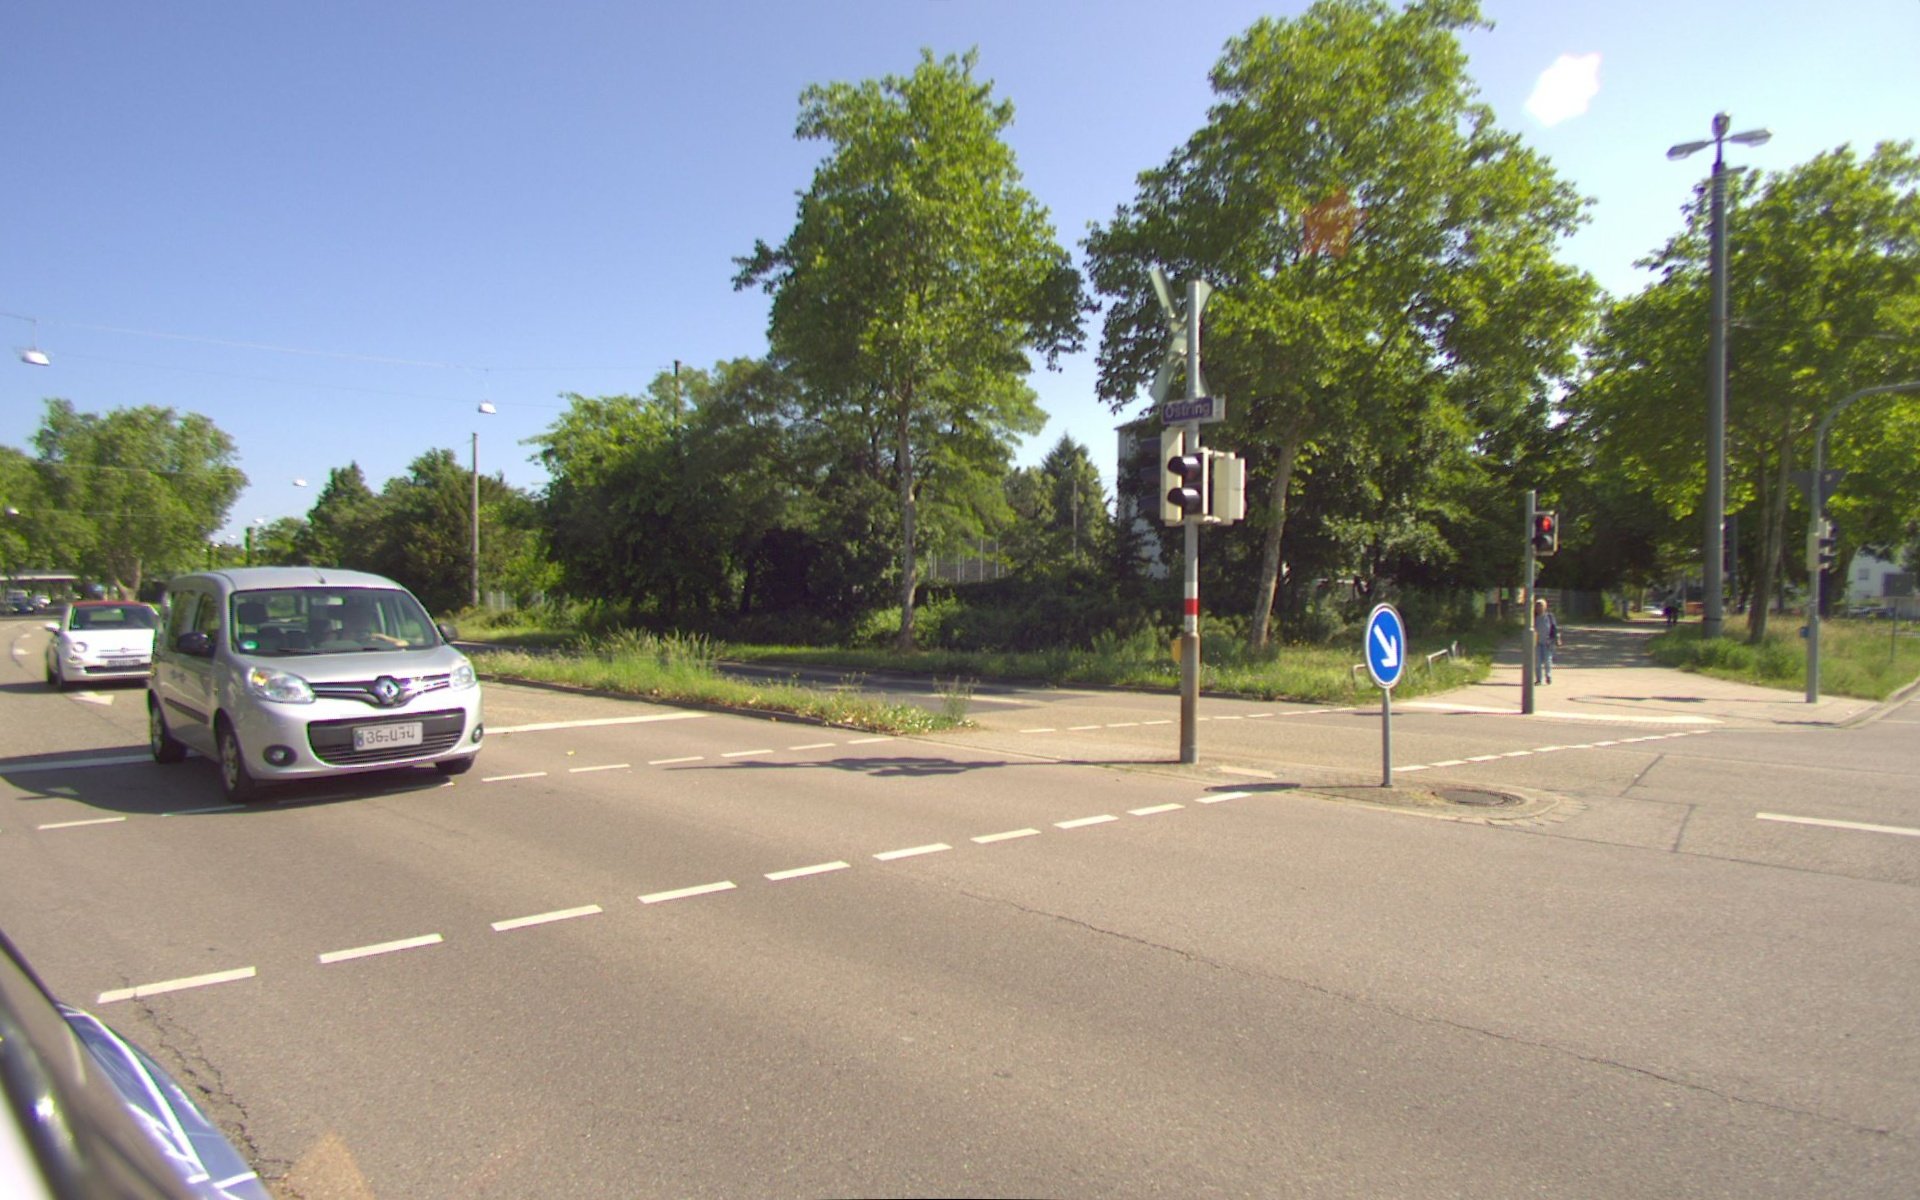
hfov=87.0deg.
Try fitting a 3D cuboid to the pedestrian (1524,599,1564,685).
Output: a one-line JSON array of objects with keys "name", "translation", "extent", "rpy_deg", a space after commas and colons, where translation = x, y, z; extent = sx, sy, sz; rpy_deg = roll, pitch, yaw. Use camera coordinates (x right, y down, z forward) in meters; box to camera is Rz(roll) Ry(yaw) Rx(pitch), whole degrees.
[{"name": "pedestrian", "translation": [10.691, 0.752, 18.524], "extent": [0.567, 1.546, 0.600], "rpy_deg": [0, -1, 36]}]

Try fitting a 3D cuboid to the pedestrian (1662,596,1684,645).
[{"name": "pedestrian", "translation": [30.930, 0.886, 43.929], "extent": [0.753, 2.106, 0.611], "rpy_deg": [0, -1, 35]}]

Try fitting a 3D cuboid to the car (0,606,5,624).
[{"name": "car", "translation": [-112.111, 1.750, 116.756], "extent": [1.966, 2.029, 4.012], "rpy_deg": [0, -1, -31]}]

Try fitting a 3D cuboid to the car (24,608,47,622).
[{"name": "car", "translation": [-135.880, 2.262, 148.747], "extent": [1.967, 2.029, 4.010], "rpy_deg": [0, -1, -35]}]

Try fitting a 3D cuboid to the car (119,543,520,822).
[{"name": "car", "translation": [-5.777, 0.554, 8.886], "extent": [4.374, 1.854, 1.852], "rpy_deg": [0, 0, 42]}]

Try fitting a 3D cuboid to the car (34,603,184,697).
[{"name": "car", "translation": [-15.442, 0.819, 18.285], "extent": [4.377, 1.502, 1.666], "rpy_deg": [0, -1, 45]}]
